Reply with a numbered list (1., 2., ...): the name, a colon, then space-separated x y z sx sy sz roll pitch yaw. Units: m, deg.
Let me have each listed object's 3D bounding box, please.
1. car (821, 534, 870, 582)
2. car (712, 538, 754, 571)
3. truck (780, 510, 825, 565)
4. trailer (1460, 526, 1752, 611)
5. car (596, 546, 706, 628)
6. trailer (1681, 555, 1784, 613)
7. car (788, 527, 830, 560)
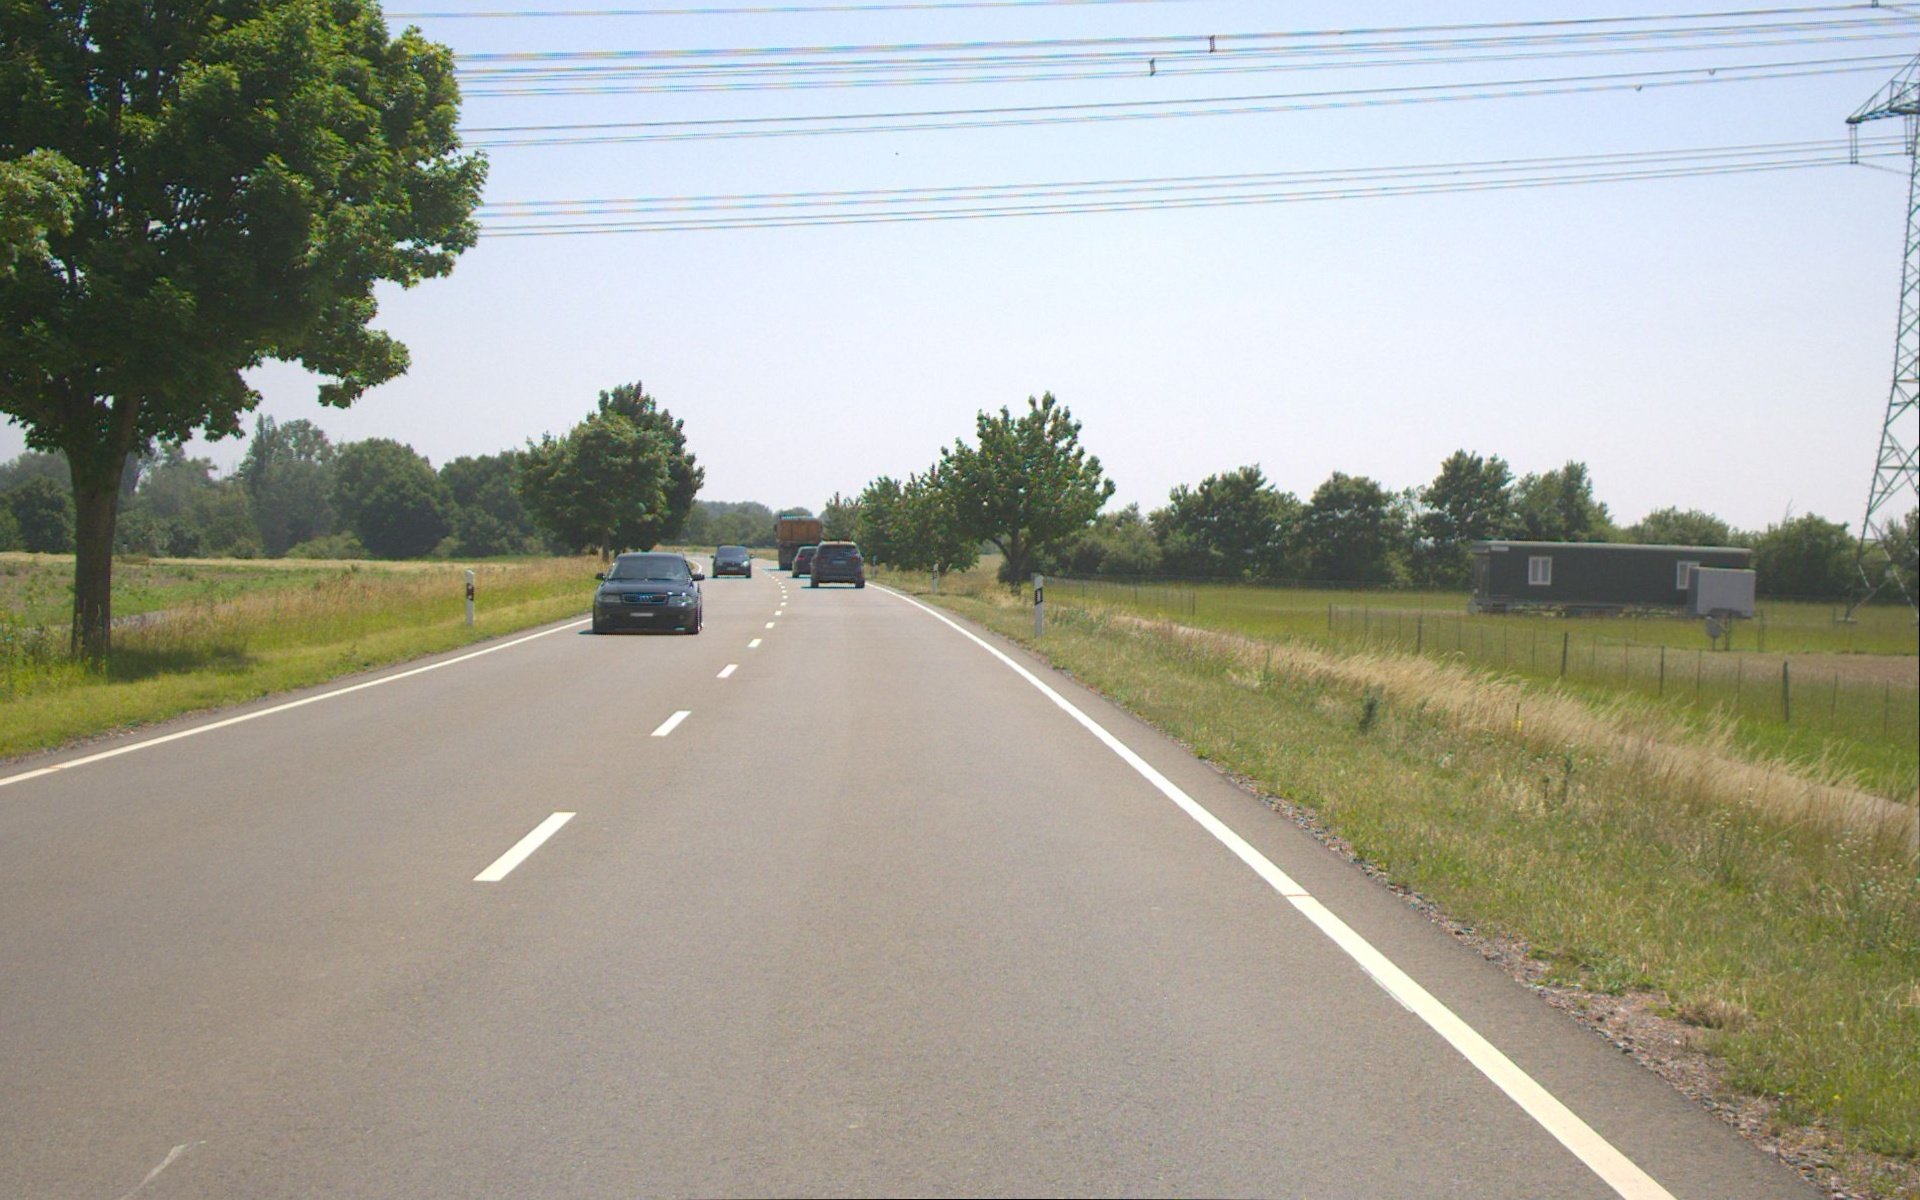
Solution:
1. car: -4.137 -1.526 123.840 1.714 1.688 3.989 1 1 -3
2. car: -10.372 -2.064 157.433 1.734 1.442 4.000 1 0 -1
3. truck: -9.354 -3.682 203.484 2.370 3.129 8.749 1 1 -5
4. trailer: 29.415 -1.451 156.893 12.409 3.461 3.806 2 1 -4
5. car: -5.250 -0.239 58.810 1.705 1.328 4.001 1 1 -3
6. trailer: 34.627 -0.743 154.193 3.986 2.434 2.001 2 1 -6
7. car: -7.027 -2.634 160.172 1.850 1.517 4.001 1 1 -4
